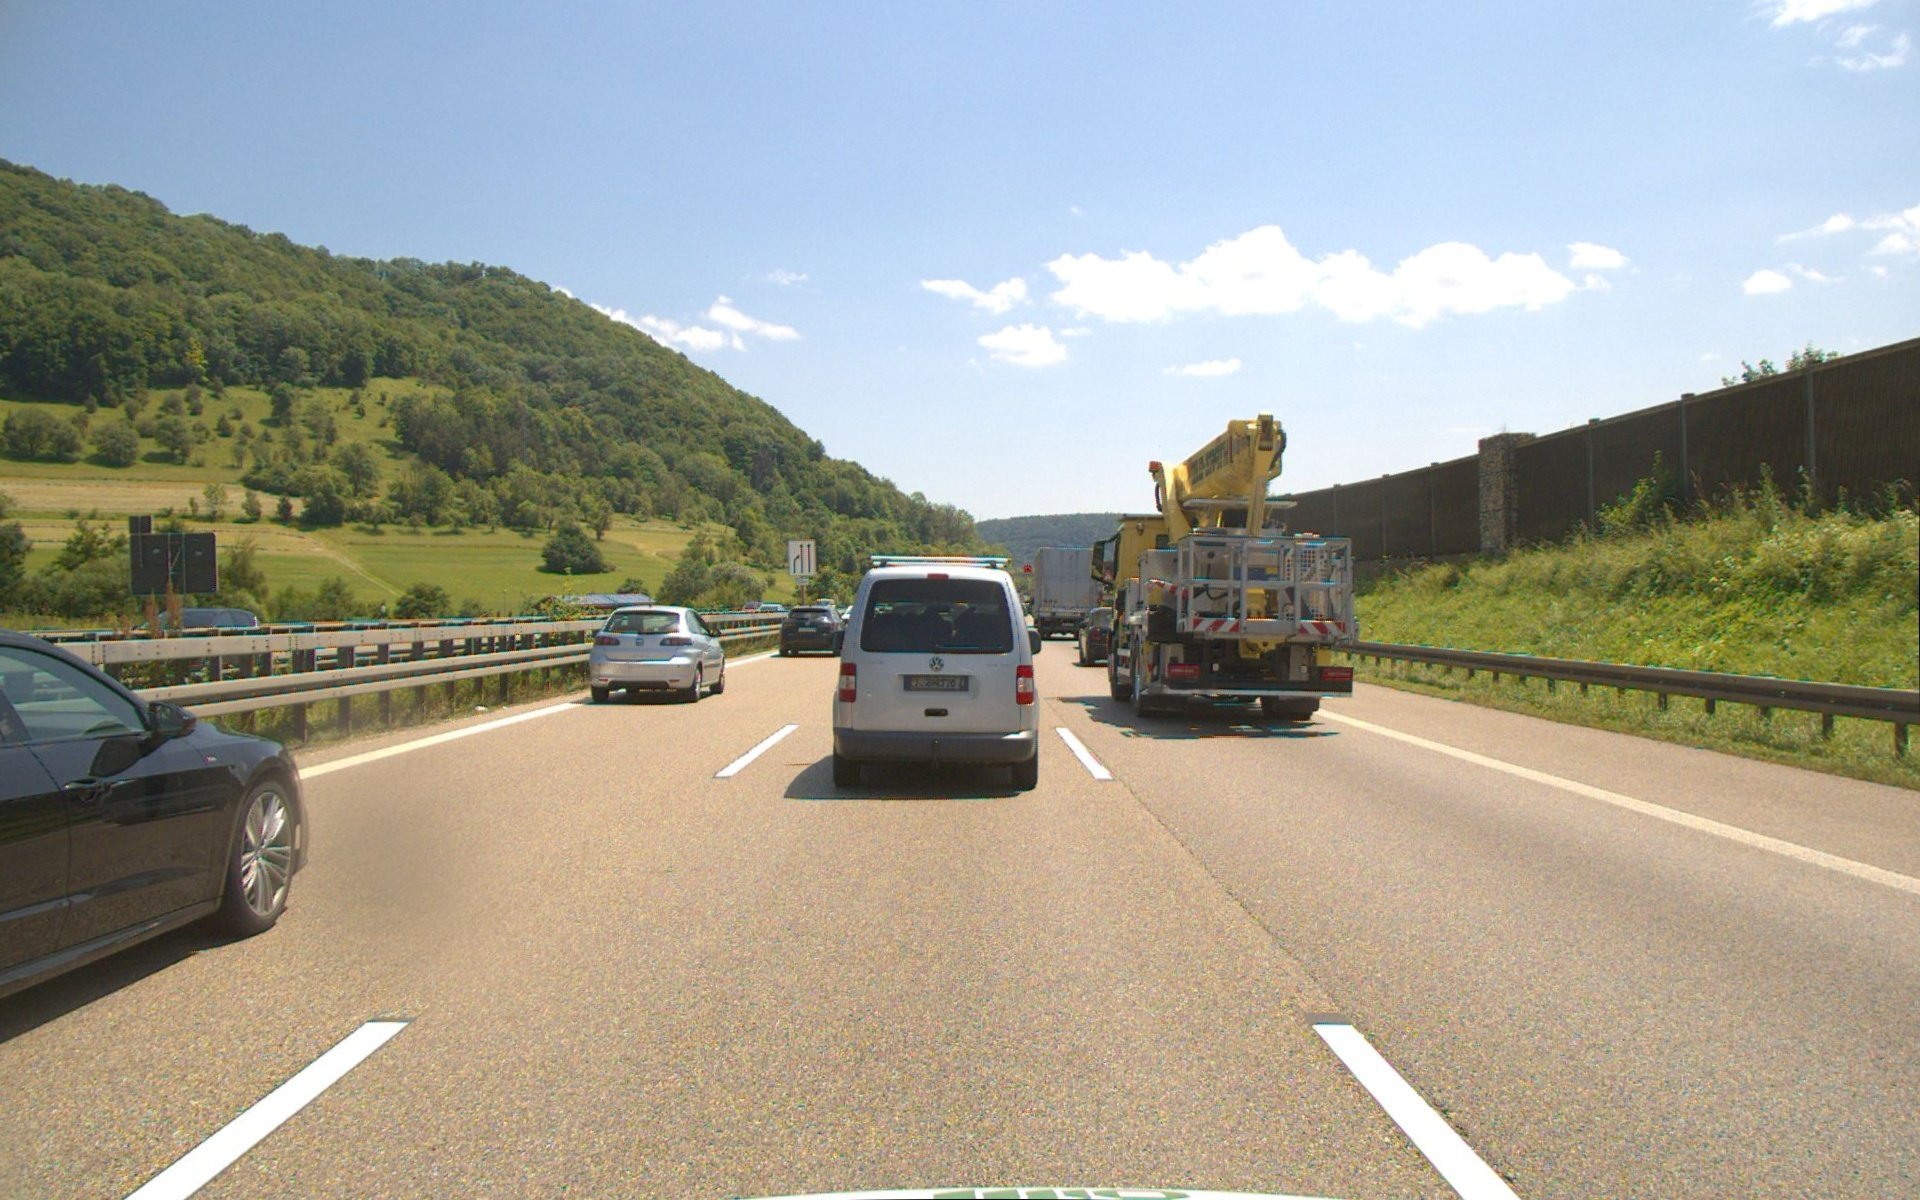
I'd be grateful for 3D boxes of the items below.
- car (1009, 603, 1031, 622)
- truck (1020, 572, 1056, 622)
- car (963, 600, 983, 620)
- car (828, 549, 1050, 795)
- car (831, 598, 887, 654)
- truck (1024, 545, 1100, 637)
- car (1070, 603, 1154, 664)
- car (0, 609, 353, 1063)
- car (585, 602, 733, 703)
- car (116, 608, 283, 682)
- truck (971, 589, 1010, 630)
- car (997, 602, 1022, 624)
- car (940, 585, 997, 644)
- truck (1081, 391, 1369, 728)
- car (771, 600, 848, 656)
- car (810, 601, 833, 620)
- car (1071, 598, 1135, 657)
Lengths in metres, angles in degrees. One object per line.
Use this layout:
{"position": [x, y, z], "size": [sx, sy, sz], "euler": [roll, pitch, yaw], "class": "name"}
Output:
{"position": [5.720, 1.204, 159.121], "size": [1.953, 1.837, 4.000], "euler": [1, -1, 0], "class": "car"}
{"position": [5.332, -0.185, 114.093], "size": [1.953, 3.308, 6.798], "euler": [1, -1, -1], "class": "truck"}
{"position": [1.239, 0.995, 161.976], "size": [1.953, 1.837, 4.000], "euler": [1, -1, 0], "class": "car"}
{"position": [-0.192, 0.558, 14.817], "size": [1.720, 1.900, 3.999], "euler": [0, 0, -1], "class": "car"}
{"position": [-3.849, 0.960, 63.503], "size": [1.953, 2.049, 3.999], "euler": [-1, 0, -1], "class": "car"}
{"position": [4.509, -0.333, 74.682], "size": [2.880, 3.890, 8.236], "euler": [1, -1, 0], "class": "truck"}
{"position": [3.854, 0.829, 42.548], "size": [1.750, 1.484, 3.770], "euler": [0, 0, -1], "class": "car"}
{"position": [-3.899, 0.748, 5.758], "size": [1.764, 1.415, 4.968], "euler": [0, 0, 0], "class": "car"}
{"position": [-4.674, 0.770, 26.152], "size": [1.661, 1.470, 3.861], "euler": [0, 0, -1], "class": "car"}
{"position": [-15.227, 0.862, 33.317], "size": [1.656, 1.392, 3.741], "euler": [0, 0, -1], "class": "car"}
{"position": [1.982, 0.586, 107.883], "size": [2.341, 2.585, 5.938], "euler": [0, 0, -1], "class": "truck"}
{"position": [4.156, 1.081, 139.052], "size": [1.953, 1.837, 4.000], "euler": [1, -1, 0], "class": "car"}
{"position": [0.274, 0.505, 58.883], "size": [1.953, 2.010, 3.999], "euler": [0, 0, -1], "class": "car"}
{"position": [3.479, -0.480, 24.084], "size": [2.649, 4.011, 8.719], "euler": [0, 0, -1], "class": "truck"}
{"position": [-4.283, 0.775, 47.622], "size": [1.886, 1.525, 3.999], "euler": [1, 0, -1], "class": "car"}
{"position": [-14.306, 1.080, 171.361], "size": [2.018, 1.975, 4.660], "euler": [0, 0, 0], "class": "car"}
{"position": [5.020, 0.943, 58.599], "size": [1.952, 2.049, 4.000], "euler": [0, 0, 0], "class": "car"}
